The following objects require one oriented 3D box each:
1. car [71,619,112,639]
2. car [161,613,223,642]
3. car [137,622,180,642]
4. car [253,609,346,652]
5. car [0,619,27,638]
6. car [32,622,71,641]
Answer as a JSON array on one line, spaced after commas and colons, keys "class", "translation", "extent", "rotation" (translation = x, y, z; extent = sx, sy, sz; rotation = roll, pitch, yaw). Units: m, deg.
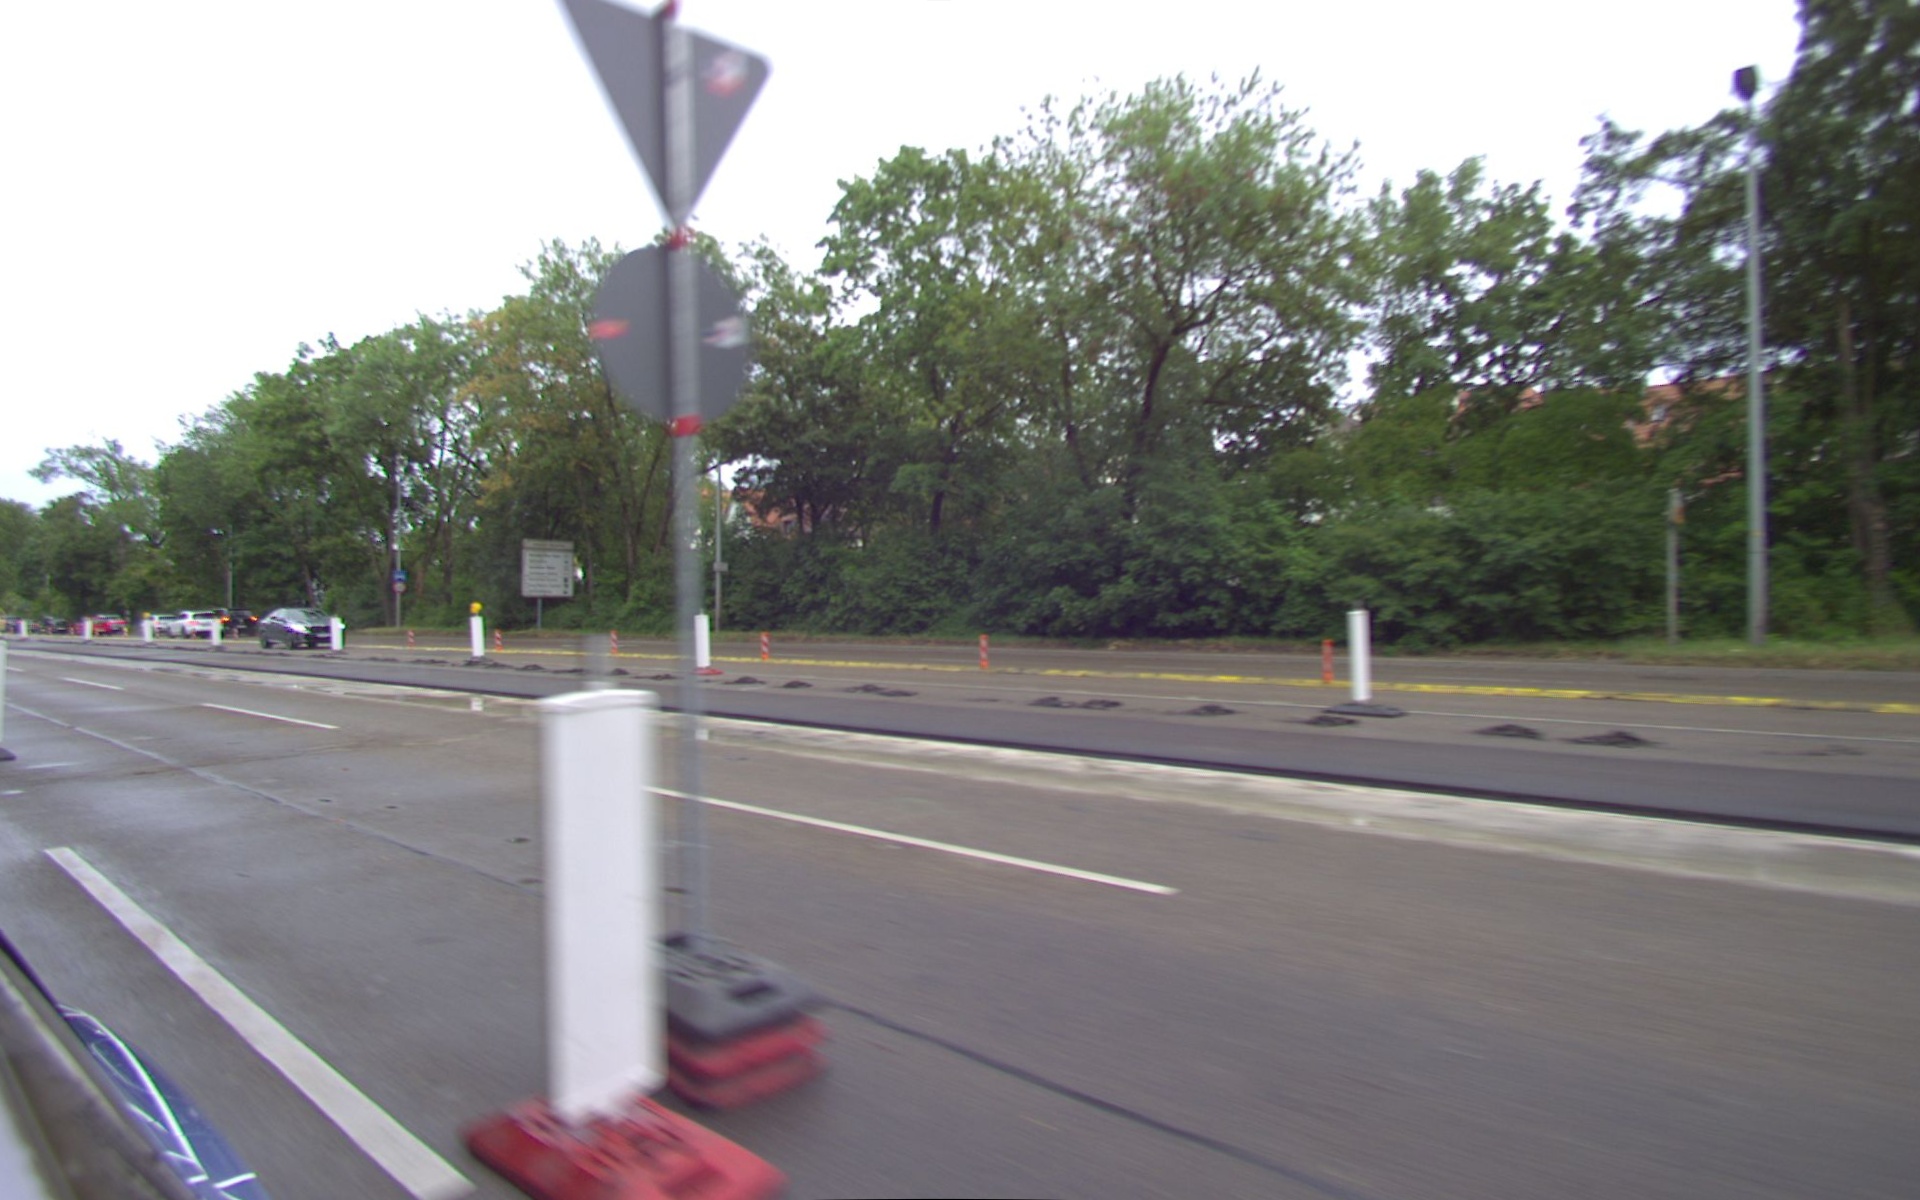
[{"class": "car", "translation": [-65.546, 2.157, 76.379], "extent": [4.008, 1.411, 1.662], "rotation": [-1, 0, 39]}, {"class": "car", "translation": [-47.015, 1.655, 61.917], "extent": [4.888, 1.674, 1.871], "rotation": [-1, 0, 39]}, {"class": "car", "translation": [-59.926, 2.375, 75.682], "extent": [4.144, 1.508, 1.662], "rotation": [-1, -2, 39]}, {"class": "car", "translation": [-27.435, 1.226, 41.962], "extent": [4.809, 1.641, 1.973], "rotation": [-1, 0, 41]}, {"class": "car", "translation": [-89.882, 2.674, 95.536], "extent": [5.007, 1.738, 2.001], "rotation": [-1, 0, 39]}, {"class": "car", "translation": [-75.979, 2.595, 84.624], "extent": [4.191, 1.499, 1.759], "rotation": [-1, 0, 38]}]
